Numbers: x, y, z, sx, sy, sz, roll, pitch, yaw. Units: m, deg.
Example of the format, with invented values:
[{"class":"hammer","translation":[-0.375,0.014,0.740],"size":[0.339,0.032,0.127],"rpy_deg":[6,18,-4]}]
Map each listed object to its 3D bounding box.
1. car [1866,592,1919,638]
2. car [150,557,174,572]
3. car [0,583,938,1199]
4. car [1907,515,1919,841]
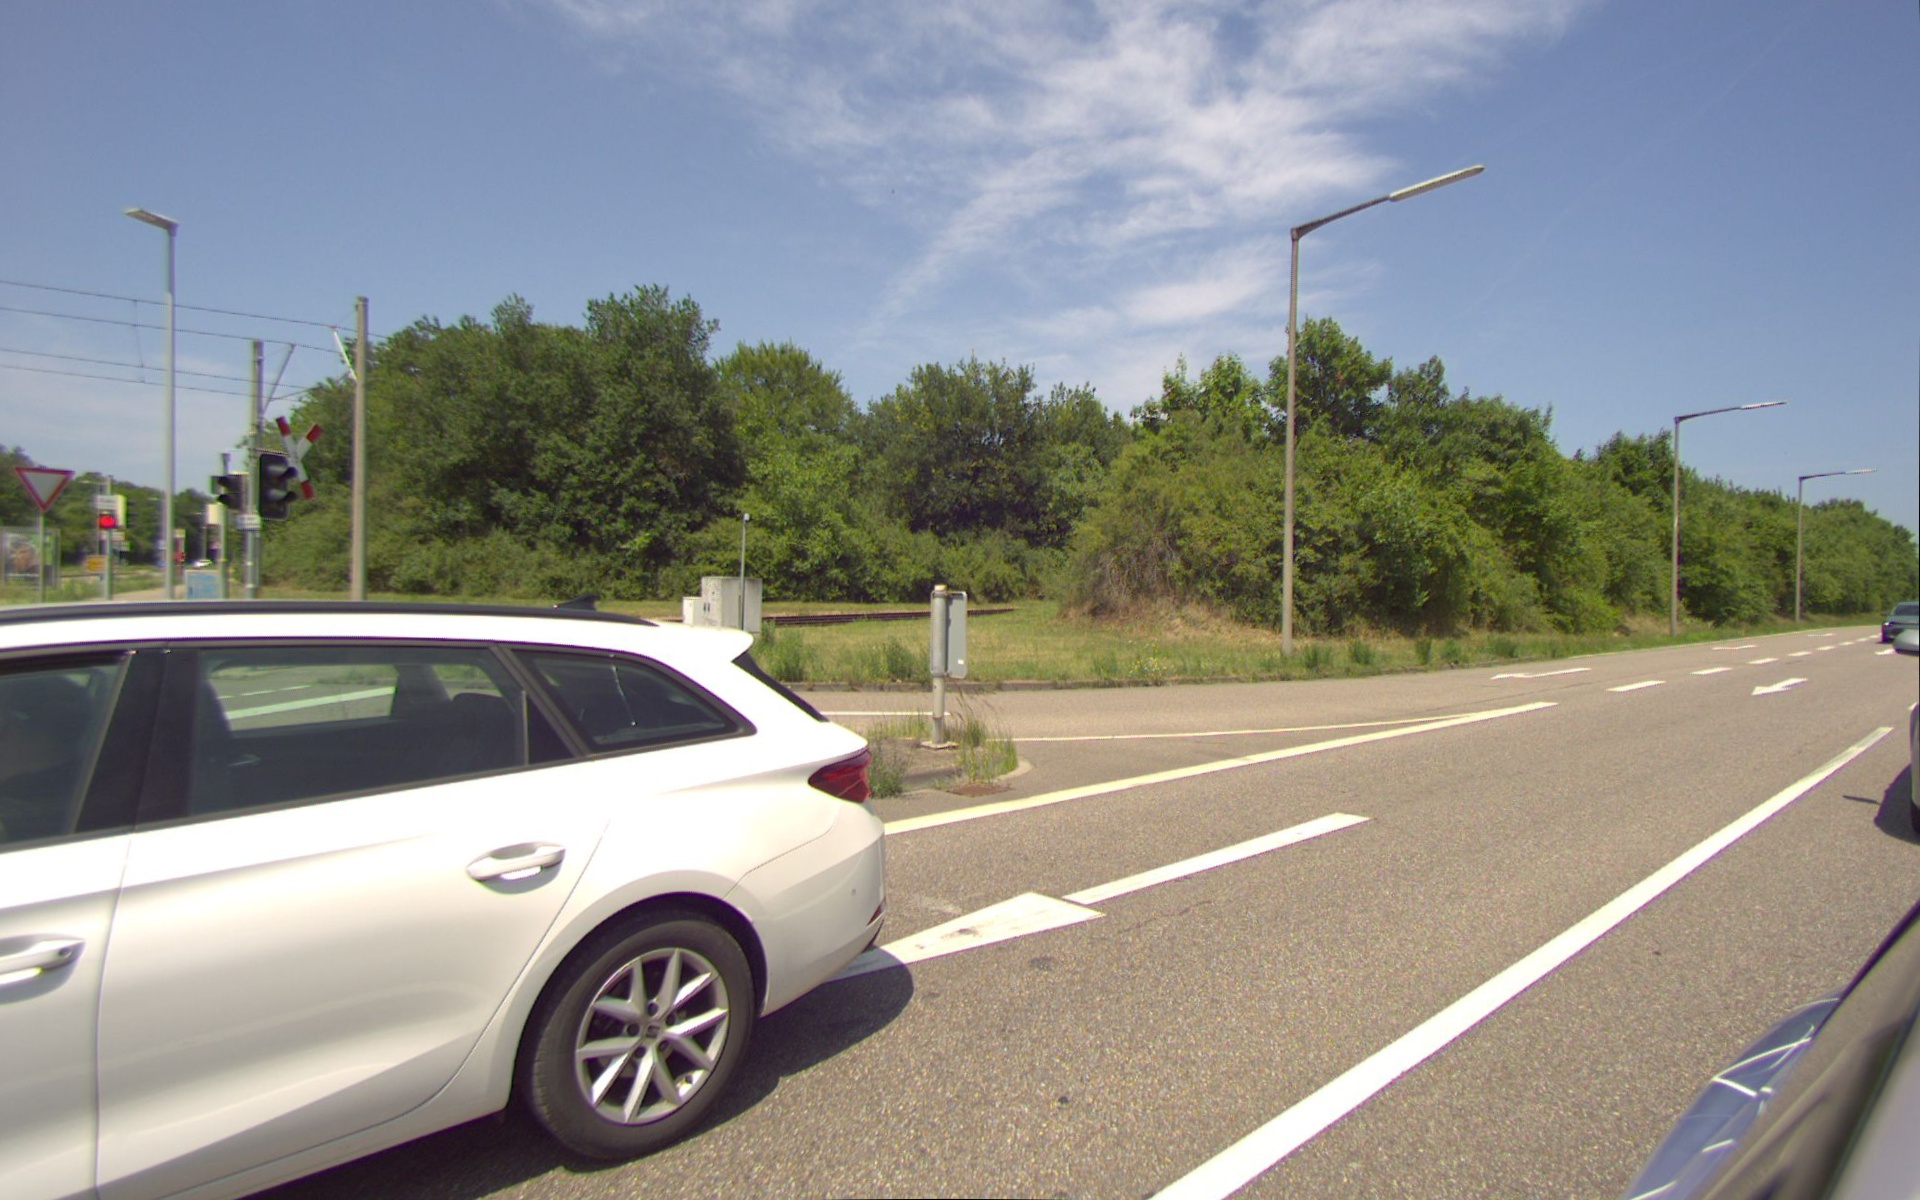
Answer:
[{"class":"car","translation":[35.861,0.544,38.305],"size":[3.928,1.616,1.723],"rpy_deg":[0,1,-39]},{"class":"car","translation":[-100.134,-4.457,126.982],"size":[1.961,1.812,4.002],"rpy_deg":[1,1,-33]},{"class":"car","translation":[-2.243,0.672,2.435],"size":[4.375,1.407,1.684],"rpy_deg":[0,1,-43]},{"class":"car","translation":[8.306,0.474,7.049],"size":[5.631,1.900,1.875],"rpy_deg":[0,1,-41]}]
